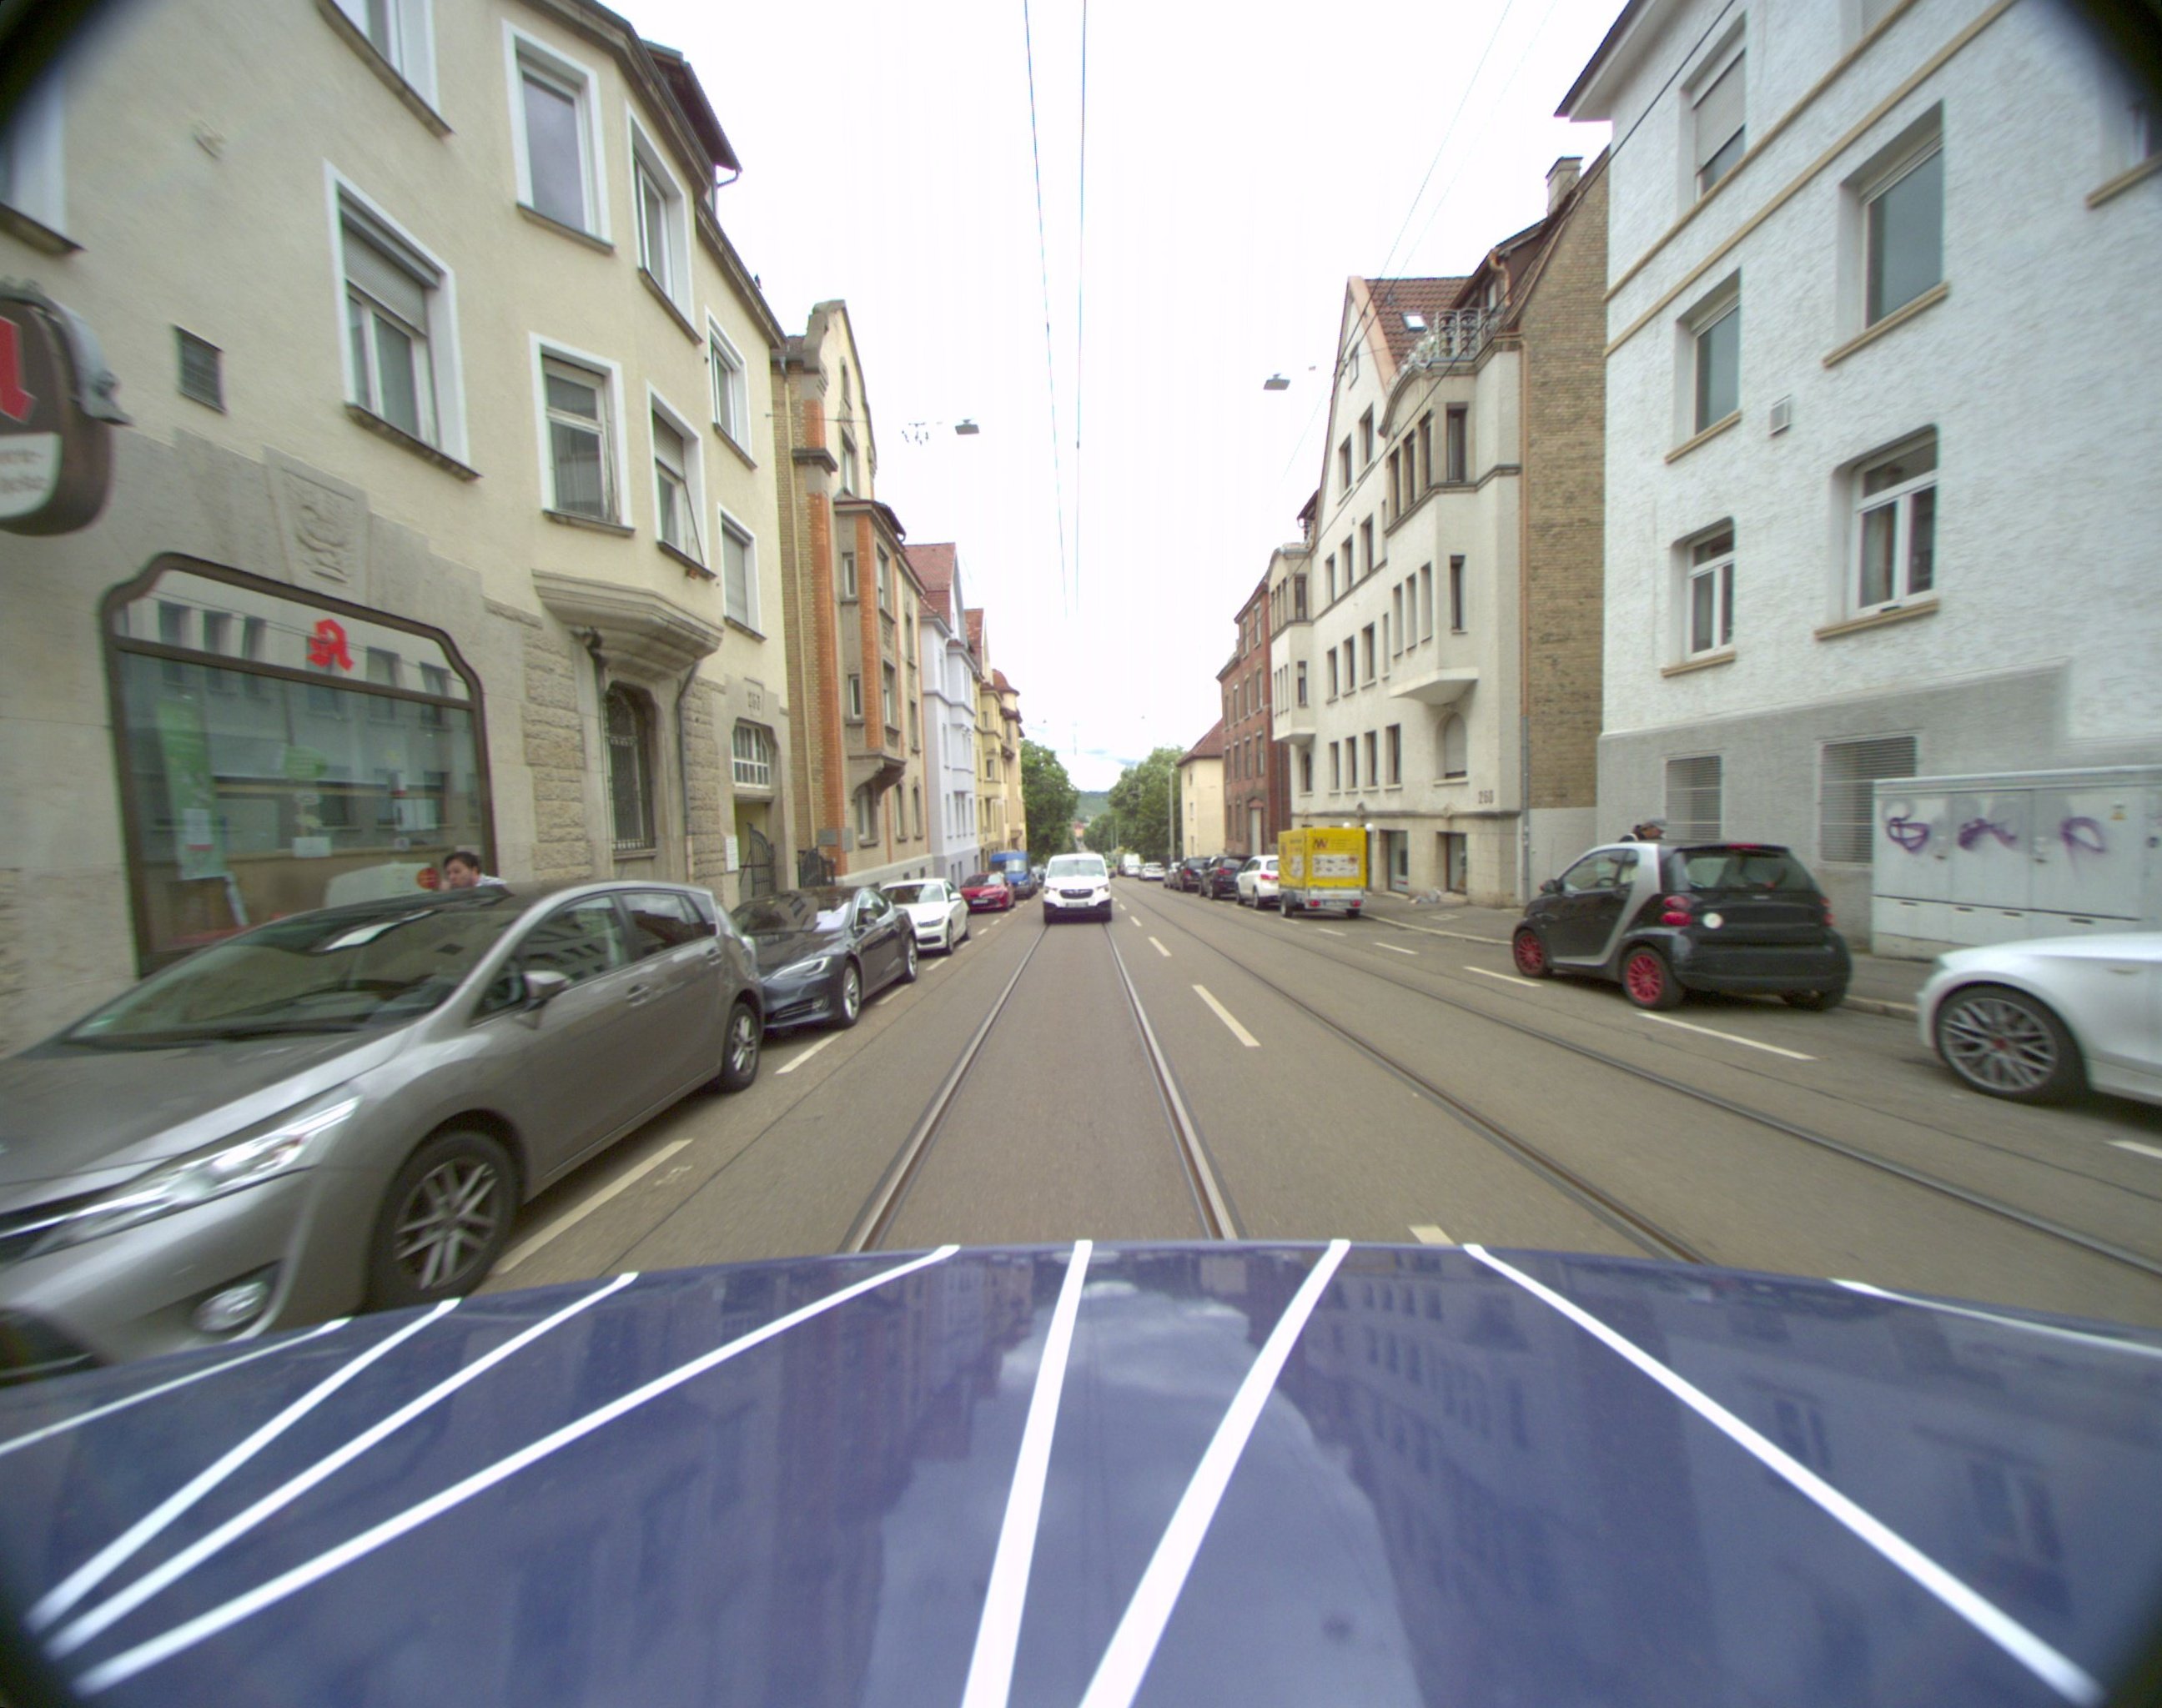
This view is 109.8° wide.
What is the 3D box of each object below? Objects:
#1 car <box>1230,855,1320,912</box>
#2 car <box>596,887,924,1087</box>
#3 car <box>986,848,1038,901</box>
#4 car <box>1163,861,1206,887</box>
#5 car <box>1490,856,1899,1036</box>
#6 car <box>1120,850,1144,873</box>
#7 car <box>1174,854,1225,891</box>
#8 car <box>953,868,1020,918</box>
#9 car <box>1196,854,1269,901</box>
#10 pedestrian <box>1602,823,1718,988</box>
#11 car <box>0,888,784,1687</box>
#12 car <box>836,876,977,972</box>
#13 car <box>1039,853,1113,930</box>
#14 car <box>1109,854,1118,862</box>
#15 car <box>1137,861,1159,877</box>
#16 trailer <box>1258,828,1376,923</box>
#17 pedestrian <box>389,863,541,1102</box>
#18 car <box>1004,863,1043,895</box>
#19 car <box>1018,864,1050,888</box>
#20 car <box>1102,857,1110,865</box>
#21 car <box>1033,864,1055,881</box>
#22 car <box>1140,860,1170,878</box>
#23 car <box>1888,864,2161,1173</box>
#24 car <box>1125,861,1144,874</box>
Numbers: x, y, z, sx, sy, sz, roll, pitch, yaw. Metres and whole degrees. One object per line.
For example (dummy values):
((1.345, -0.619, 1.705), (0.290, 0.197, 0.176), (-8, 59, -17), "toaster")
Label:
((5.786, 0.830, 23.184), (1.701, 1.584, 4.269), (0, -1, 1), "car")
((-3.215, 1.235, 8.814), (1.784, 1.382, 4.691), (-4, 0, -1), "car")
((-3.291, 0.918, 37.237), (1.998, 2.362, 5.056), (-3, 0, 0), "car")
((5.820, 1.112, 43.158), (1.832, 1.420, 4.839), (0, -1, 1), "car")
((5.780, 0.747, 7.665), (1.701, 1.460, 3.023), (0, 0, 1), "car")
((6.017, 0.925, 90.143), (2.164, 2.591, 6.218), (1, -1, -1), "car")
((5.814, 0.890, 37.747), (1.832, 1.708, 4.914), (0, -1, 1), "car")
((-3.363, 1.345, 27.825), (1.784, 1.466, 4.589), (-4, 0, 0), "car")
((5.727, 0.847, 29.322), (1.878, 1.654, 4.892), (0, -1, 1), "car")
((7.134, 0.607, 9.400), (0.590, 1.895, 0.811), (-7, 1, 0), "pedestrian")
((-3.267, 1.095, 3.877), (1.739, 1.528, 4.573), (-4, 0, -2), "car")
((-3.253, 1.252, 15.014), (1.755, 1.382, 4.307), (-4, 0, -1), "car")
((-0.066, 0.935, 21.105), (1.759, 1.824, 4.448), (-2, 0, 1), "car")
((7.018, 0.904, 165.394), (1.856, 1.531, 3.948), (-2, -1, 0), "car")
((5.889, 1.322, 67.110), (1.604, 1.360, 3.808), (1, -1, 1), "car")
((5.752, 0.504, 19.025), (1.753, 2.143, 4.071), (0, 0, 1), "trailer")
((-4.913, 0.983, 6.101), (0.600, 1.792, 0.631), (-3, 1, 0), "pedestrian")
((-3.209, 1.381, 42.812), (1.784, 1.521, 4.192), (-6, 0, -1), "car")
((-3.344, 1.548, 54.668), (1.832, 1.510, 4.028), (-4, -1, 1), "car")
((6.006, 1.635, 185.085), (1.901, 1.935, 4.291), (0, 0, 0), "car")
((-3.382, 1.650, 69.996), (1.699, 1.396, 3.668), (-4, -1, 1), "car")
((5.997, 1.215, 62.184), (1.832, 1.420, 4.627), (1, -1, -2), "car")
((5.809, 0.757, 2.502), (1.784, 1.349, 4.292), (-2, 0, 2), "car")
((5.649, 1.406, 80.133), (1.723, 1.394, 4.313), (1, -1, 0), "car")
